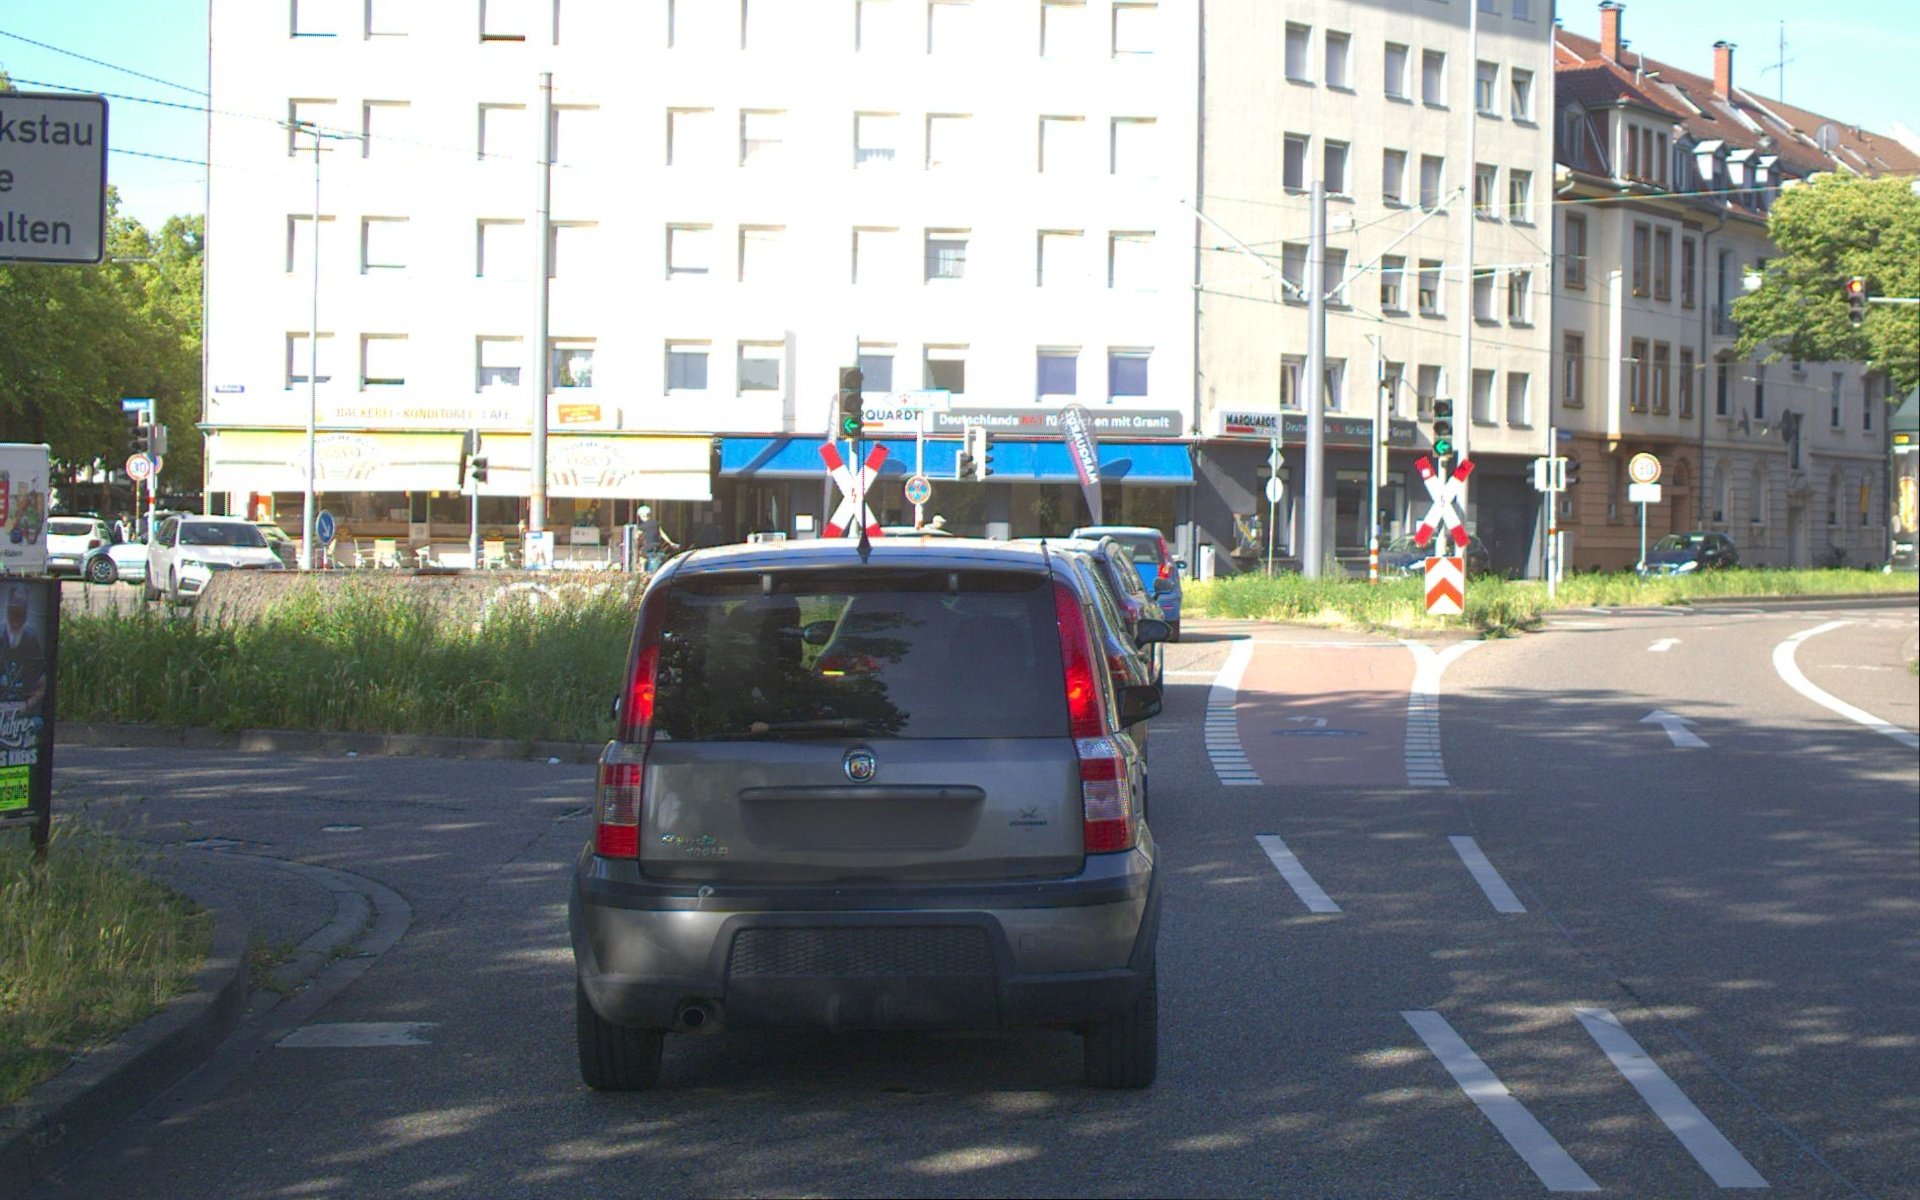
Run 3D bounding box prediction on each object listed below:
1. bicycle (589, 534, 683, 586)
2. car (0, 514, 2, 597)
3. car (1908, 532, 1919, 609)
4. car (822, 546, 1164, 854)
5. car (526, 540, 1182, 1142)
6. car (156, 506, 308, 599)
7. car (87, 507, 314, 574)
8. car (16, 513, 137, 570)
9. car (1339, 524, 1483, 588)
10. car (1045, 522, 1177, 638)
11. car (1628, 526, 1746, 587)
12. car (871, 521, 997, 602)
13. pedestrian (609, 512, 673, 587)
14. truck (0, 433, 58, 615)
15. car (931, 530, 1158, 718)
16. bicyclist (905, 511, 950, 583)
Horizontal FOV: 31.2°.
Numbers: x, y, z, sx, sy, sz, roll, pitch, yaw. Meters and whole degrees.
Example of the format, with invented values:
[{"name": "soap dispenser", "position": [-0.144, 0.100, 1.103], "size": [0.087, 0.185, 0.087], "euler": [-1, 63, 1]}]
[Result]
[{"name": "bicycle", "position": [-6.388, -0.792, 67.650], "size": [1.855, 0.948, 0.783], "euler": [2, 0, 43]}, {"name": "car", "position": [-20.253, -0.876, 64.403], "size": [3.990, 1.567, 1.998], "euler": [1, 1, 17]}, {"name": "car", "position": [19.602, -0.554, 65.987], "size": [1.778, 1.437, 3.612], "euler": [2, 2, 31]}, {"name": "car", "position": [0.091, 0.453, 18.311], "size": [1.621, 1.424, 3.689], "euler": [1, 1, -2]}, {"name": "car", "position": [-0.280, 0.591, 10.432], "size": [1.660, 1.505, 3.252], "euler": [1, 1, 0]}, {"name": "car", "position": [-11.951, -0.803, 56.642], "size": [1.663, 1.443, 4.403], "euler": [1, 1, -2]}, {"name": "car", "position": [-15.344, -1.204, 69.505], "size": [3.990, 1.238, 1.999], "euler": [2, 1, 15]}, {"name": "car", "position": [-21.251, -1.428, 82.814], "size": [1.993, 1.305, 4.001], "euler": [1, 1, -2]}, {"name": "car", "position": [10.303, -1.012, 78.397], "size": [1.794, 1.391, 3.718], "euler": [2, 2, 33]}, {"name": "car", "position": [2.006, -0.286, 44.944], "size": [1.646, 1.433, 3.396], "euler": [1, 1, 4]}, {"name": "car", "position": [19.428, -1.158, 91.761], "size": [1.794, 1.560, 3.759], "euler": [2, 2, 33]}, {"name": "car", "position": [-0.454, -0.641, 56.100], "size": [1.690, 1.249, 3.627], "euler": [1, 1, -6]}, {"name": "pedestrian", "position": [-6.266, -0.996, 67.548], "size": [0.938, 1.423, 0.774], "euler": [2, 0, 45]}, {"name": "truck", "position": [-13.797, -1.025, 45.379], "size": [1.789, 2.418, 4.107], "euler": [1, 1, 16]}, {"name": "car", "position": [0.802, 0.148, 29.873], "size": [1.760, 1.481, 4.293], "euler": [1, 1, 4]}, {"name": "bicyclist", "position": [-0.716, -1.172, 75.533], "size": [0.822, 1.553, 0.561], "euler": [1, 1, 22]}]
